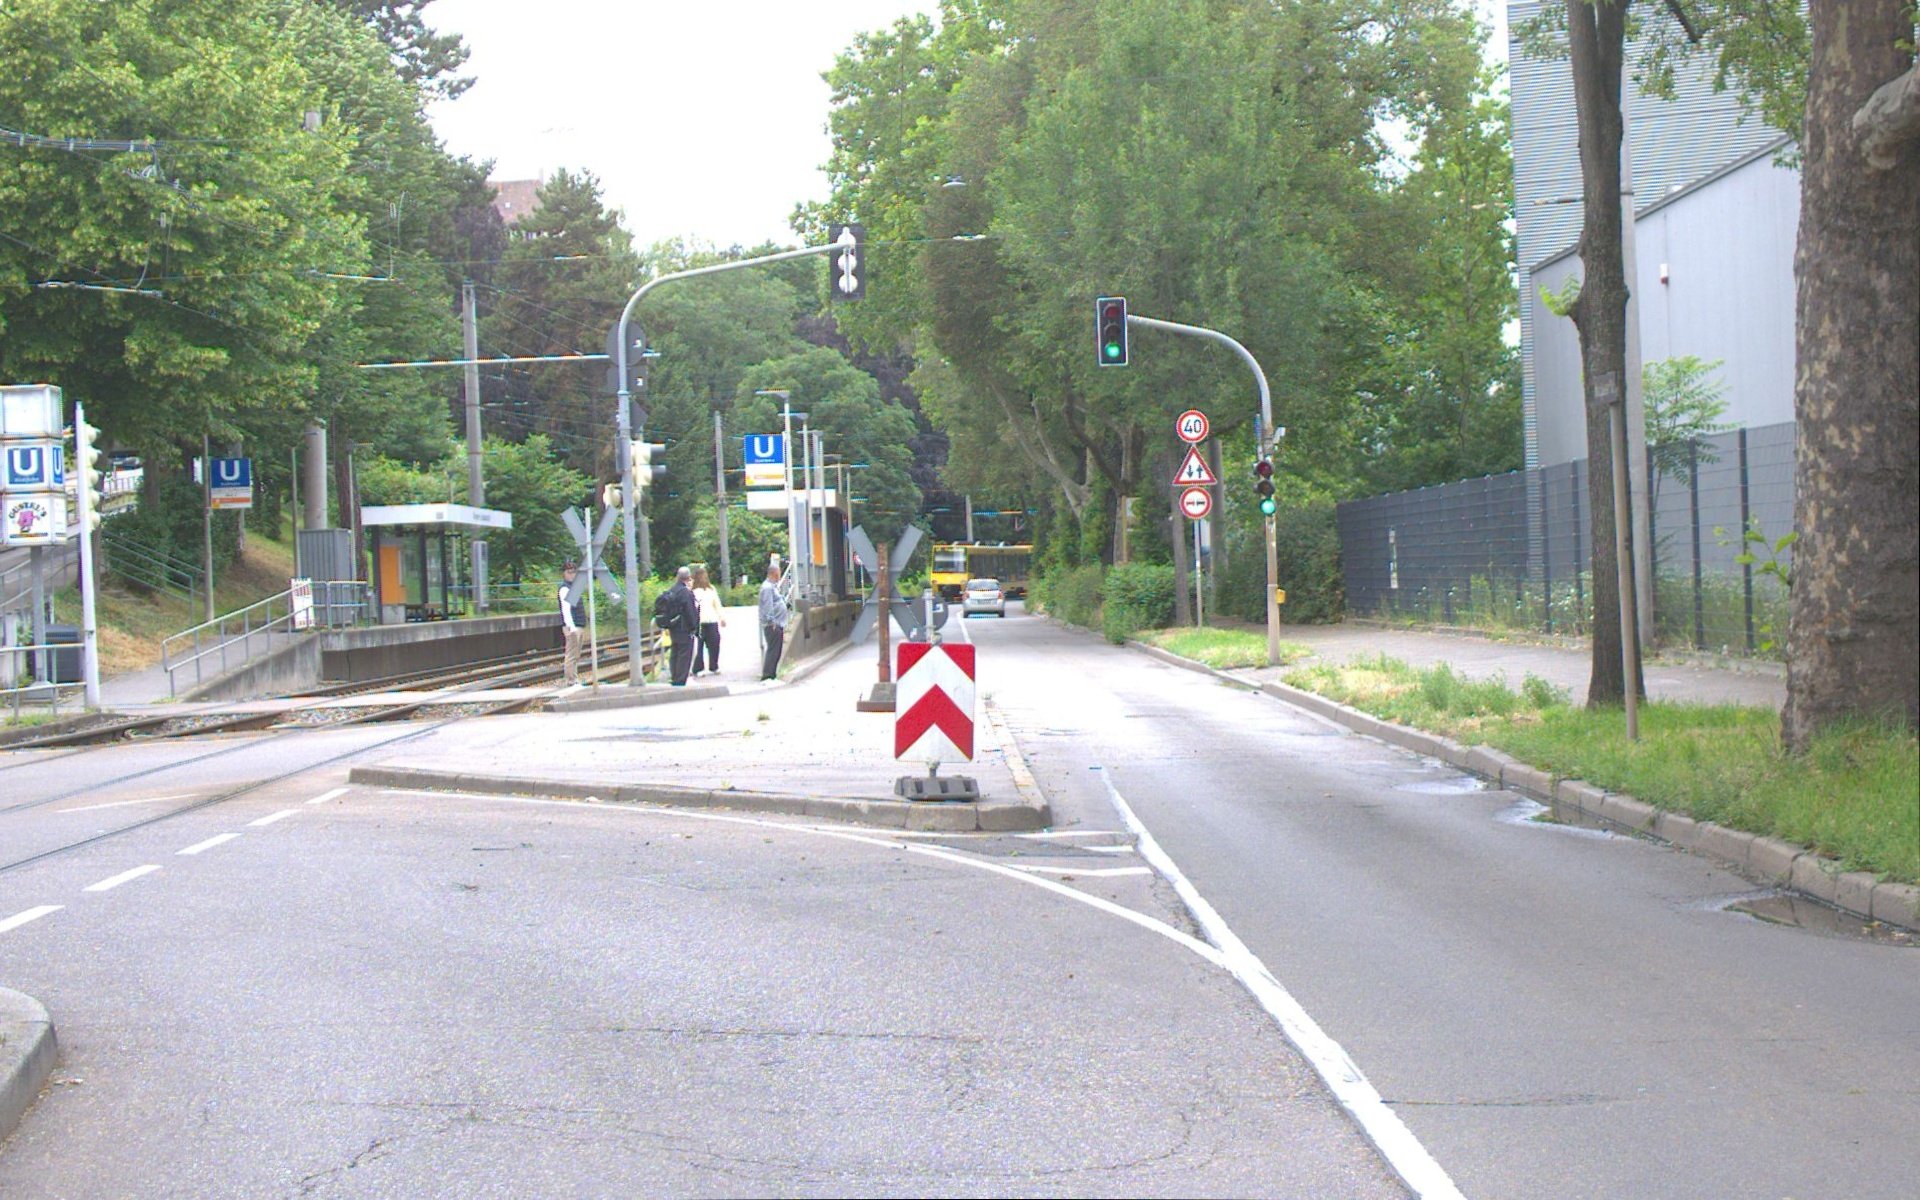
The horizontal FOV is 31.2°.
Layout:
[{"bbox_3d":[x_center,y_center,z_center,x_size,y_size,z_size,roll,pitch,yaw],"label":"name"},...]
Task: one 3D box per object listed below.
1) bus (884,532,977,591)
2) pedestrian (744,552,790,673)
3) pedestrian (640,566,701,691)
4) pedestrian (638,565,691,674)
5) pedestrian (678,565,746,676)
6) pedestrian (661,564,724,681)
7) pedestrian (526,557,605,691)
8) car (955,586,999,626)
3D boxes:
[{"bbox_3d":[-1.832,-2.378,217.234,2.737,3.614,8.932,1,0,21],"label":"bus"},{"bbox_3d":[-2.820,0.180,50.254,0.550,1.752,0.737,1,0,4],"label":"pedestrian"},{"bbox_3d":[-3.906,0.378,46.406,0.735,1.659,0.682,1,0,1],"label":"pedestrian"},{"bbox_3d":[-4.577,0.301,53.196,0.735,1.659,0.682,1,0,-11],"label":"pedestrian"},{"bbox_3d":[-3.742,0.309,51.895,0.735,1.659,0.681,1,0,-39],"label":"pedestrian"},{"bbox_3d":[-3.836,0.322,49.273,0.680,1.659,0.737,1,0,15],"label":"pedestrian"},{"bbox_3d":[-5.384,0.326,46.909,0.803,1.815,0.670,1,0,-42],"label":"pedestrian"},{"bbox_3d":[0.699,0.241,144.481,1.743,1.593,4.000,2,0,-1],"label":"car"}]
